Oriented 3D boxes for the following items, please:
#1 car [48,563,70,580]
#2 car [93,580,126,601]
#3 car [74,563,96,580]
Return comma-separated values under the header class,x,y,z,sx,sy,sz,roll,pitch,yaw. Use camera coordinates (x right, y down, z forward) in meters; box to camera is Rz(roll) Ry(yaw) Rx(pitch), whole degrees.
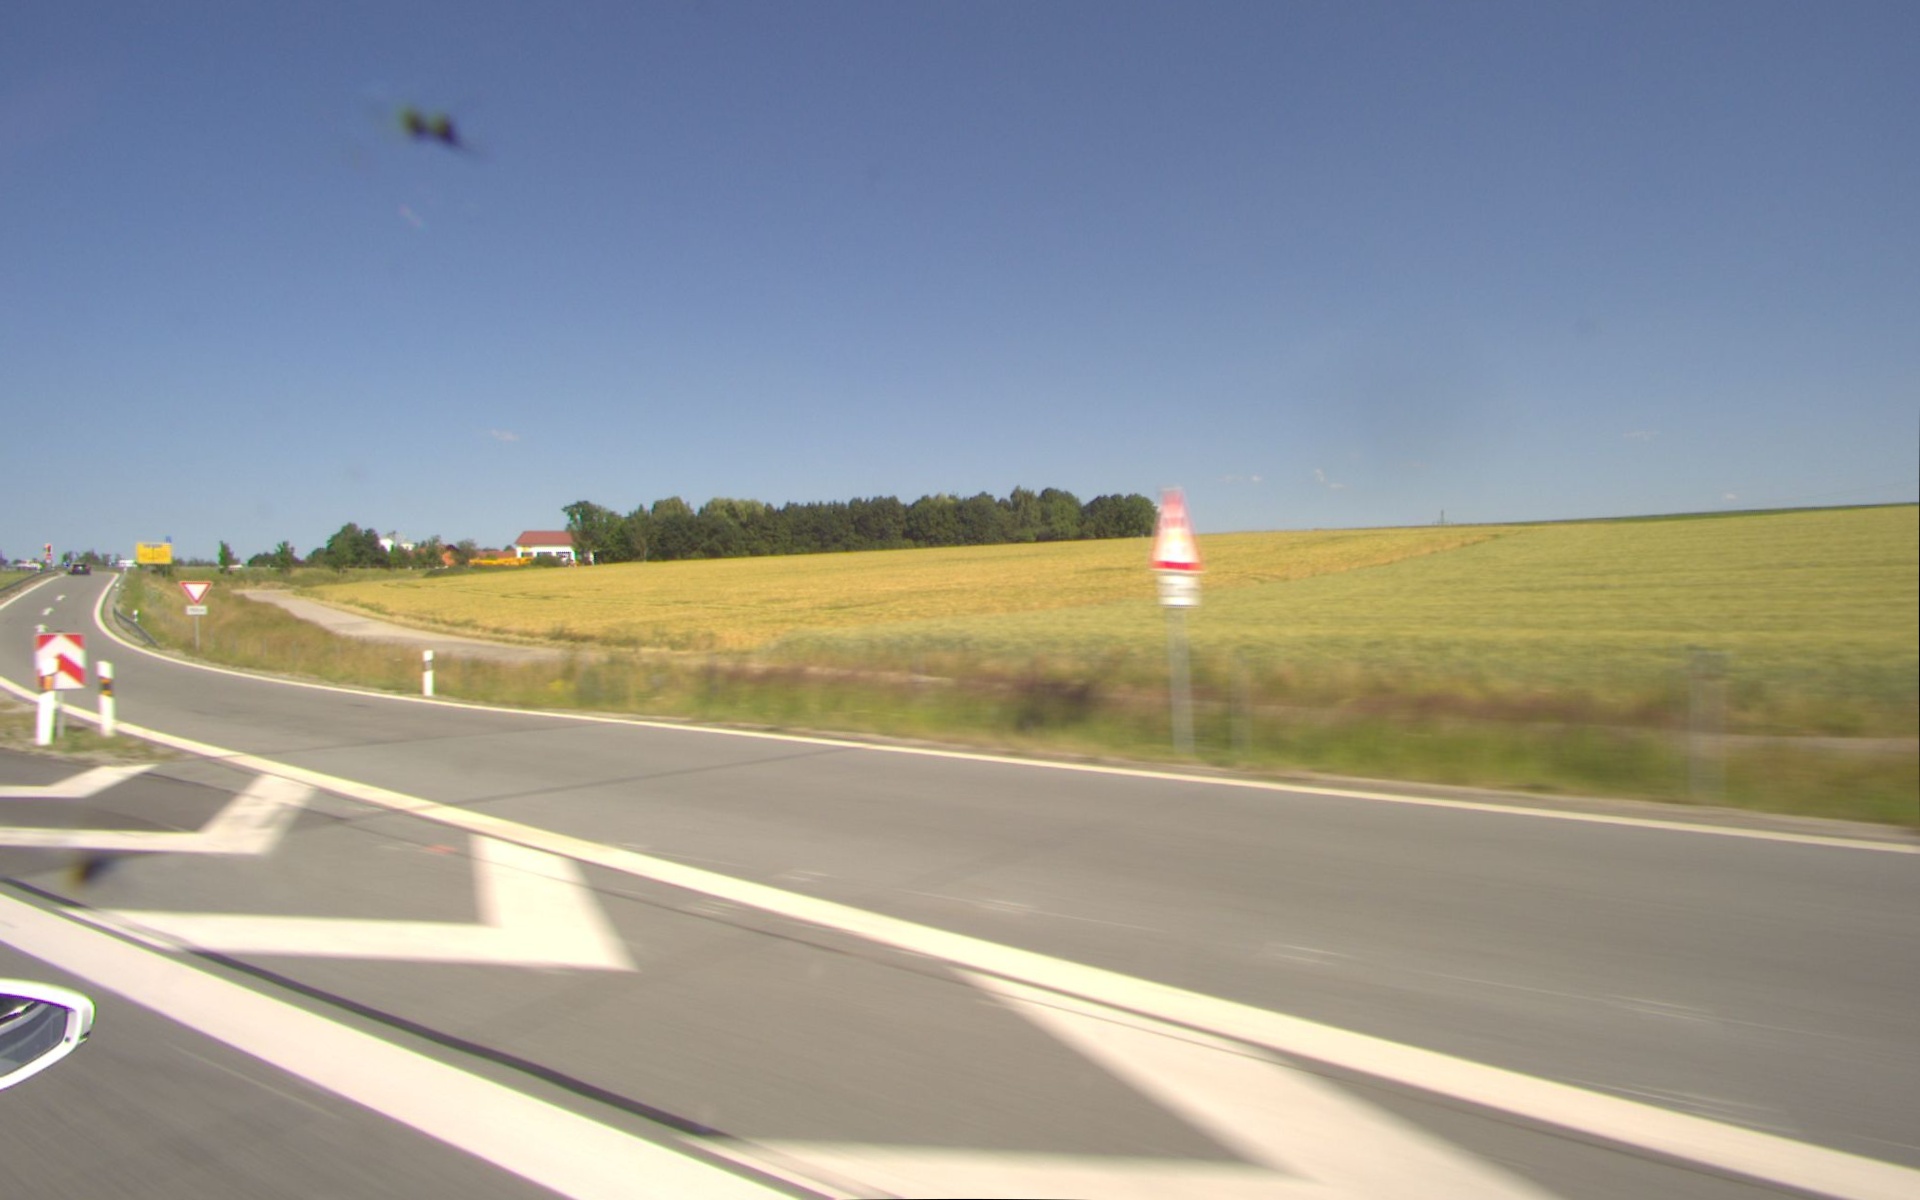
class,x,y,z,sx,sy,sz,roll,pitch,yaw
car,-117.531,-3.715,130.625,1.978,2.040,3.964,-2,1,-42
car,-70.867,-0.797,83.387,1.978,1.640,3.964,-2,1,-42
car,-110.753,-3.569,126.720,1.978,2.040,3.964,-2,1,-42
